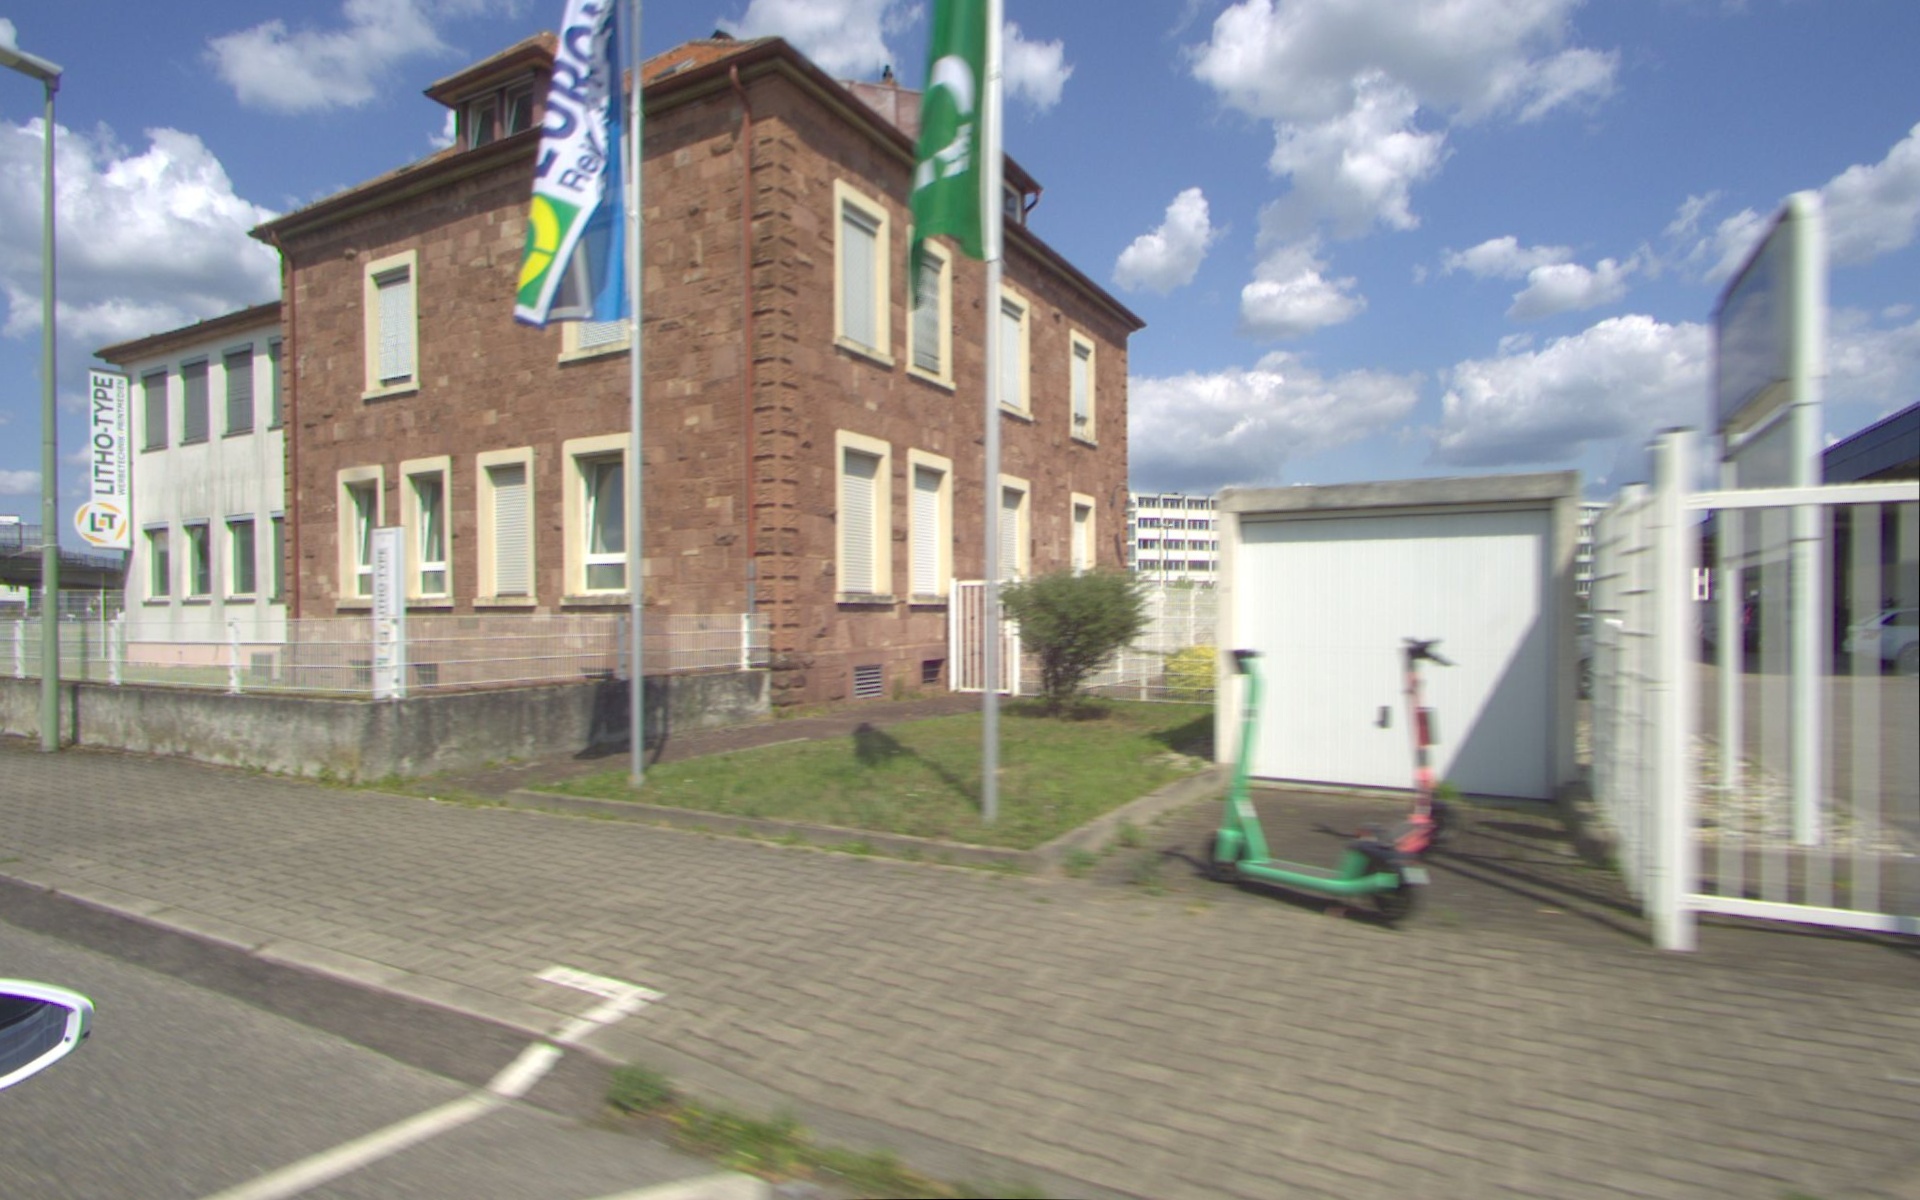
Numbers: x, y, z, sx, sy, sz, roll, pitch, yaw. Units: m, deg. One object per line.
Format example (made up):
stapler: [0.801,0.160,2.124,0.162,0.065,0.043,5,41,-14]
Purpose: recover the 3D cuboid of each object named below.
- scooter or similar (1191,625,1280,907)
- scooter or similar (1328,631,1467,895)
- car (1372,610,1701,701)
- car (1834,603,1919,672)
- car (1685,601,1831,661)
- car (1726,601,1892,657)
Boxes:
scooter or similar: [1.367,0.791,4.967,0.360,1.329,0.332,0,0,29]
scooter or similar: [2.373,0.816,5.386,1.138,1.262,0.256,-1,1,-43]
car: [10.413,0.933,18.482,5.017,1.497,1.991,0,0,29]
car: [23.282,0.830,22.874,4.717,1.566,1.663,-2,-1,31]
car: [28.686,1.082,36.145,3.901,2.040,1.664,0,0,31]
car: [27.748,0.918,32.907,3.901,1.765,1.664,0,0,31]
